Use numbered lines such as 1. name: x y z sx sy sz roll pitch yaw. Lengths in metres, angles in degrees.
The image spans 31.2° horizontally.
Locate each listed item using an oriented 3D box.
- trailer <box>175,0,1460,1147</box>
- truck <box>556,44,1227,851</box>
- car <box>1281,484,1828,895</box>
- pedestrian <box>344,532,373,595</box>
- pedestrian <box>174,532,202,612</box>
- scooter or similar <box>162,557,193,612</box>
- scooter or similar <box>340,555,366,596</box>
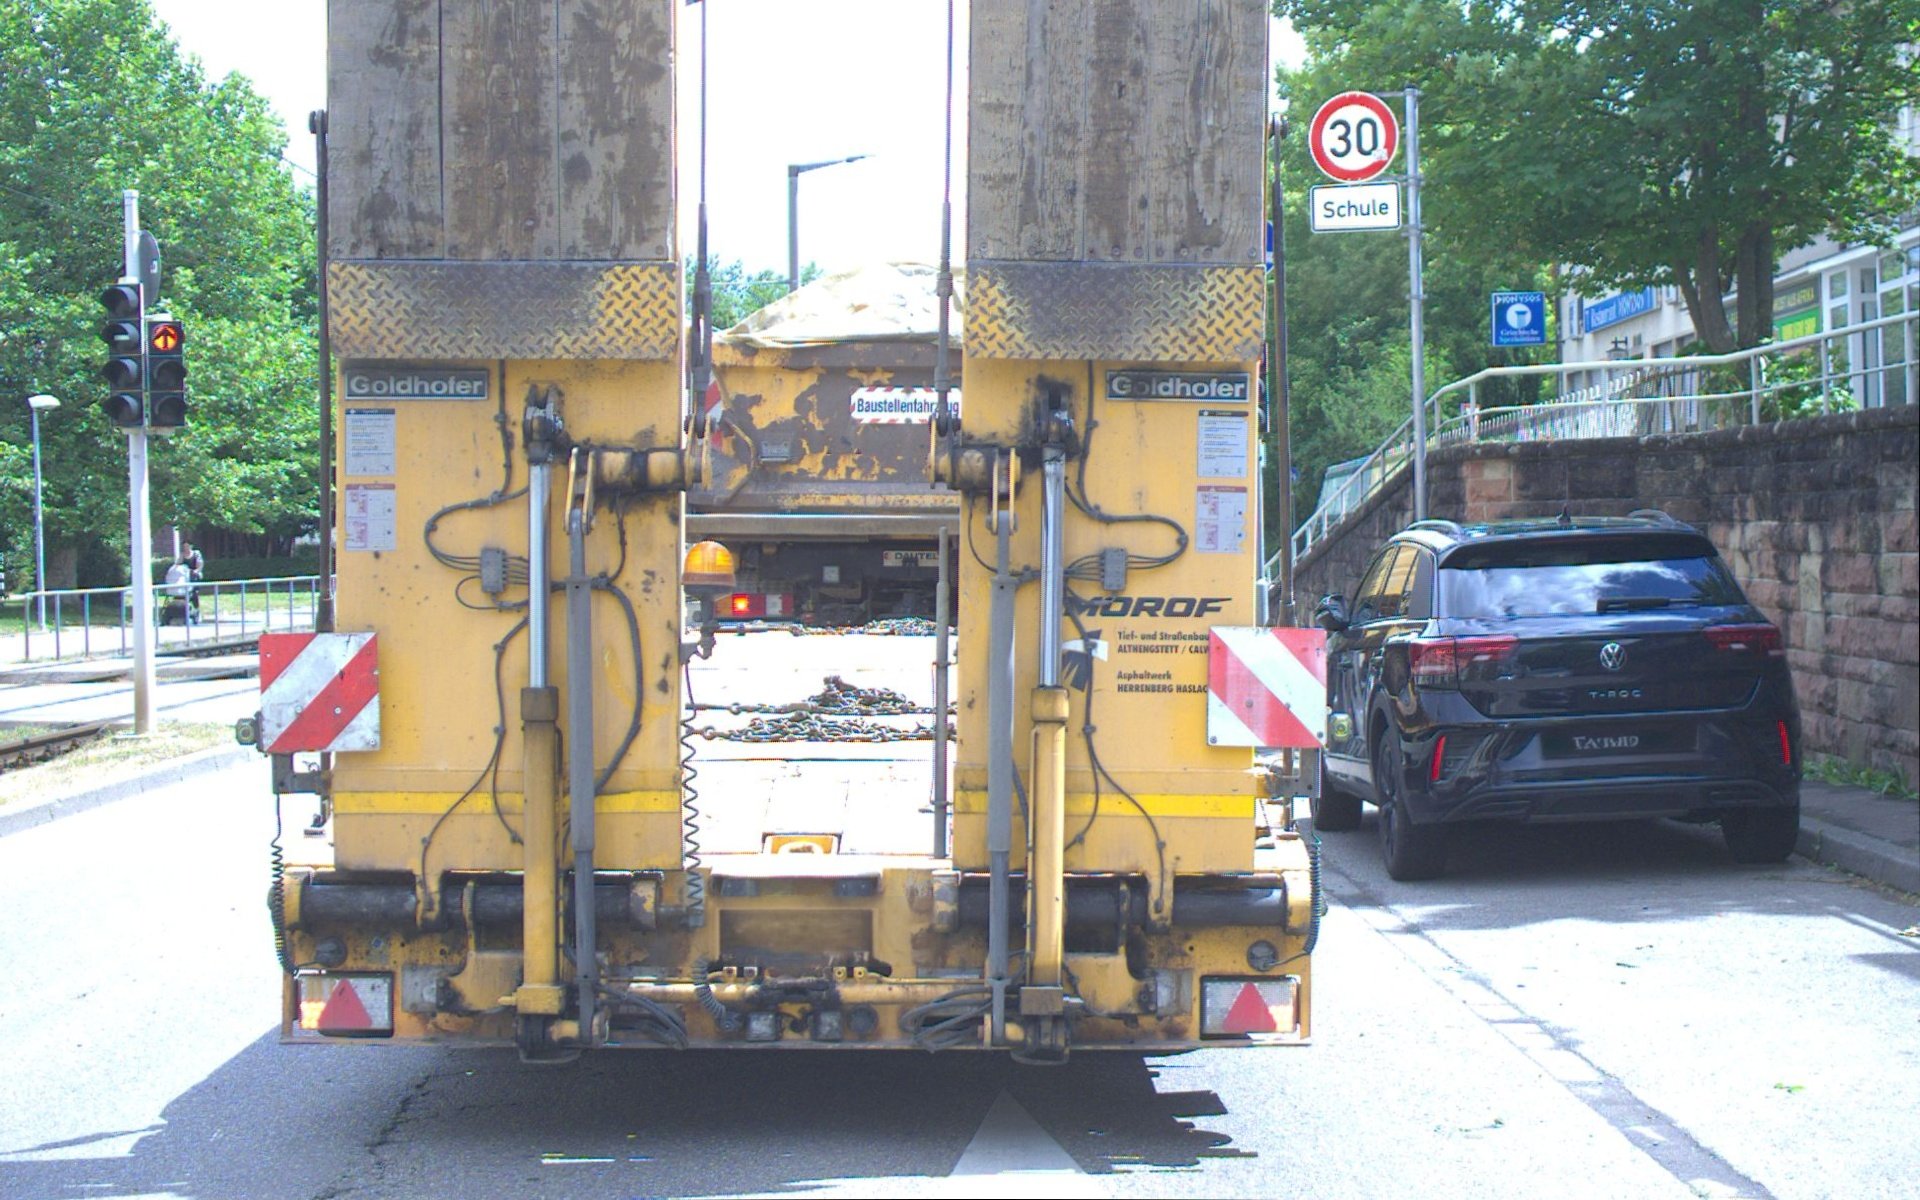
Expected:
1. trailer: -0.312 -0.631 12.326 2.945 3.589 8.684 -1 1 0
2. truck: -0.303 -0.730 17.819 2.942 3.560 4.877 -1 1 0
3. car: 2.646 0.335 16.213 1.851 1.633 4.000 -2 1 0
4. pedestrian: -14.525 -0.878 83.028 0.563 1.508 0.646 1 1 -1
5. pedestrian: -14.902 -0.541 66.365 0.348 1.531 0.557 -1 1 3
6. scooter or similar: -14.959 -0.298 65.719 0.338 1.054 0.687 -1 0 6
7. scooter or similar: -14.539 -0.597 82.382 0.505 0.968 0.646 1 1 -1
